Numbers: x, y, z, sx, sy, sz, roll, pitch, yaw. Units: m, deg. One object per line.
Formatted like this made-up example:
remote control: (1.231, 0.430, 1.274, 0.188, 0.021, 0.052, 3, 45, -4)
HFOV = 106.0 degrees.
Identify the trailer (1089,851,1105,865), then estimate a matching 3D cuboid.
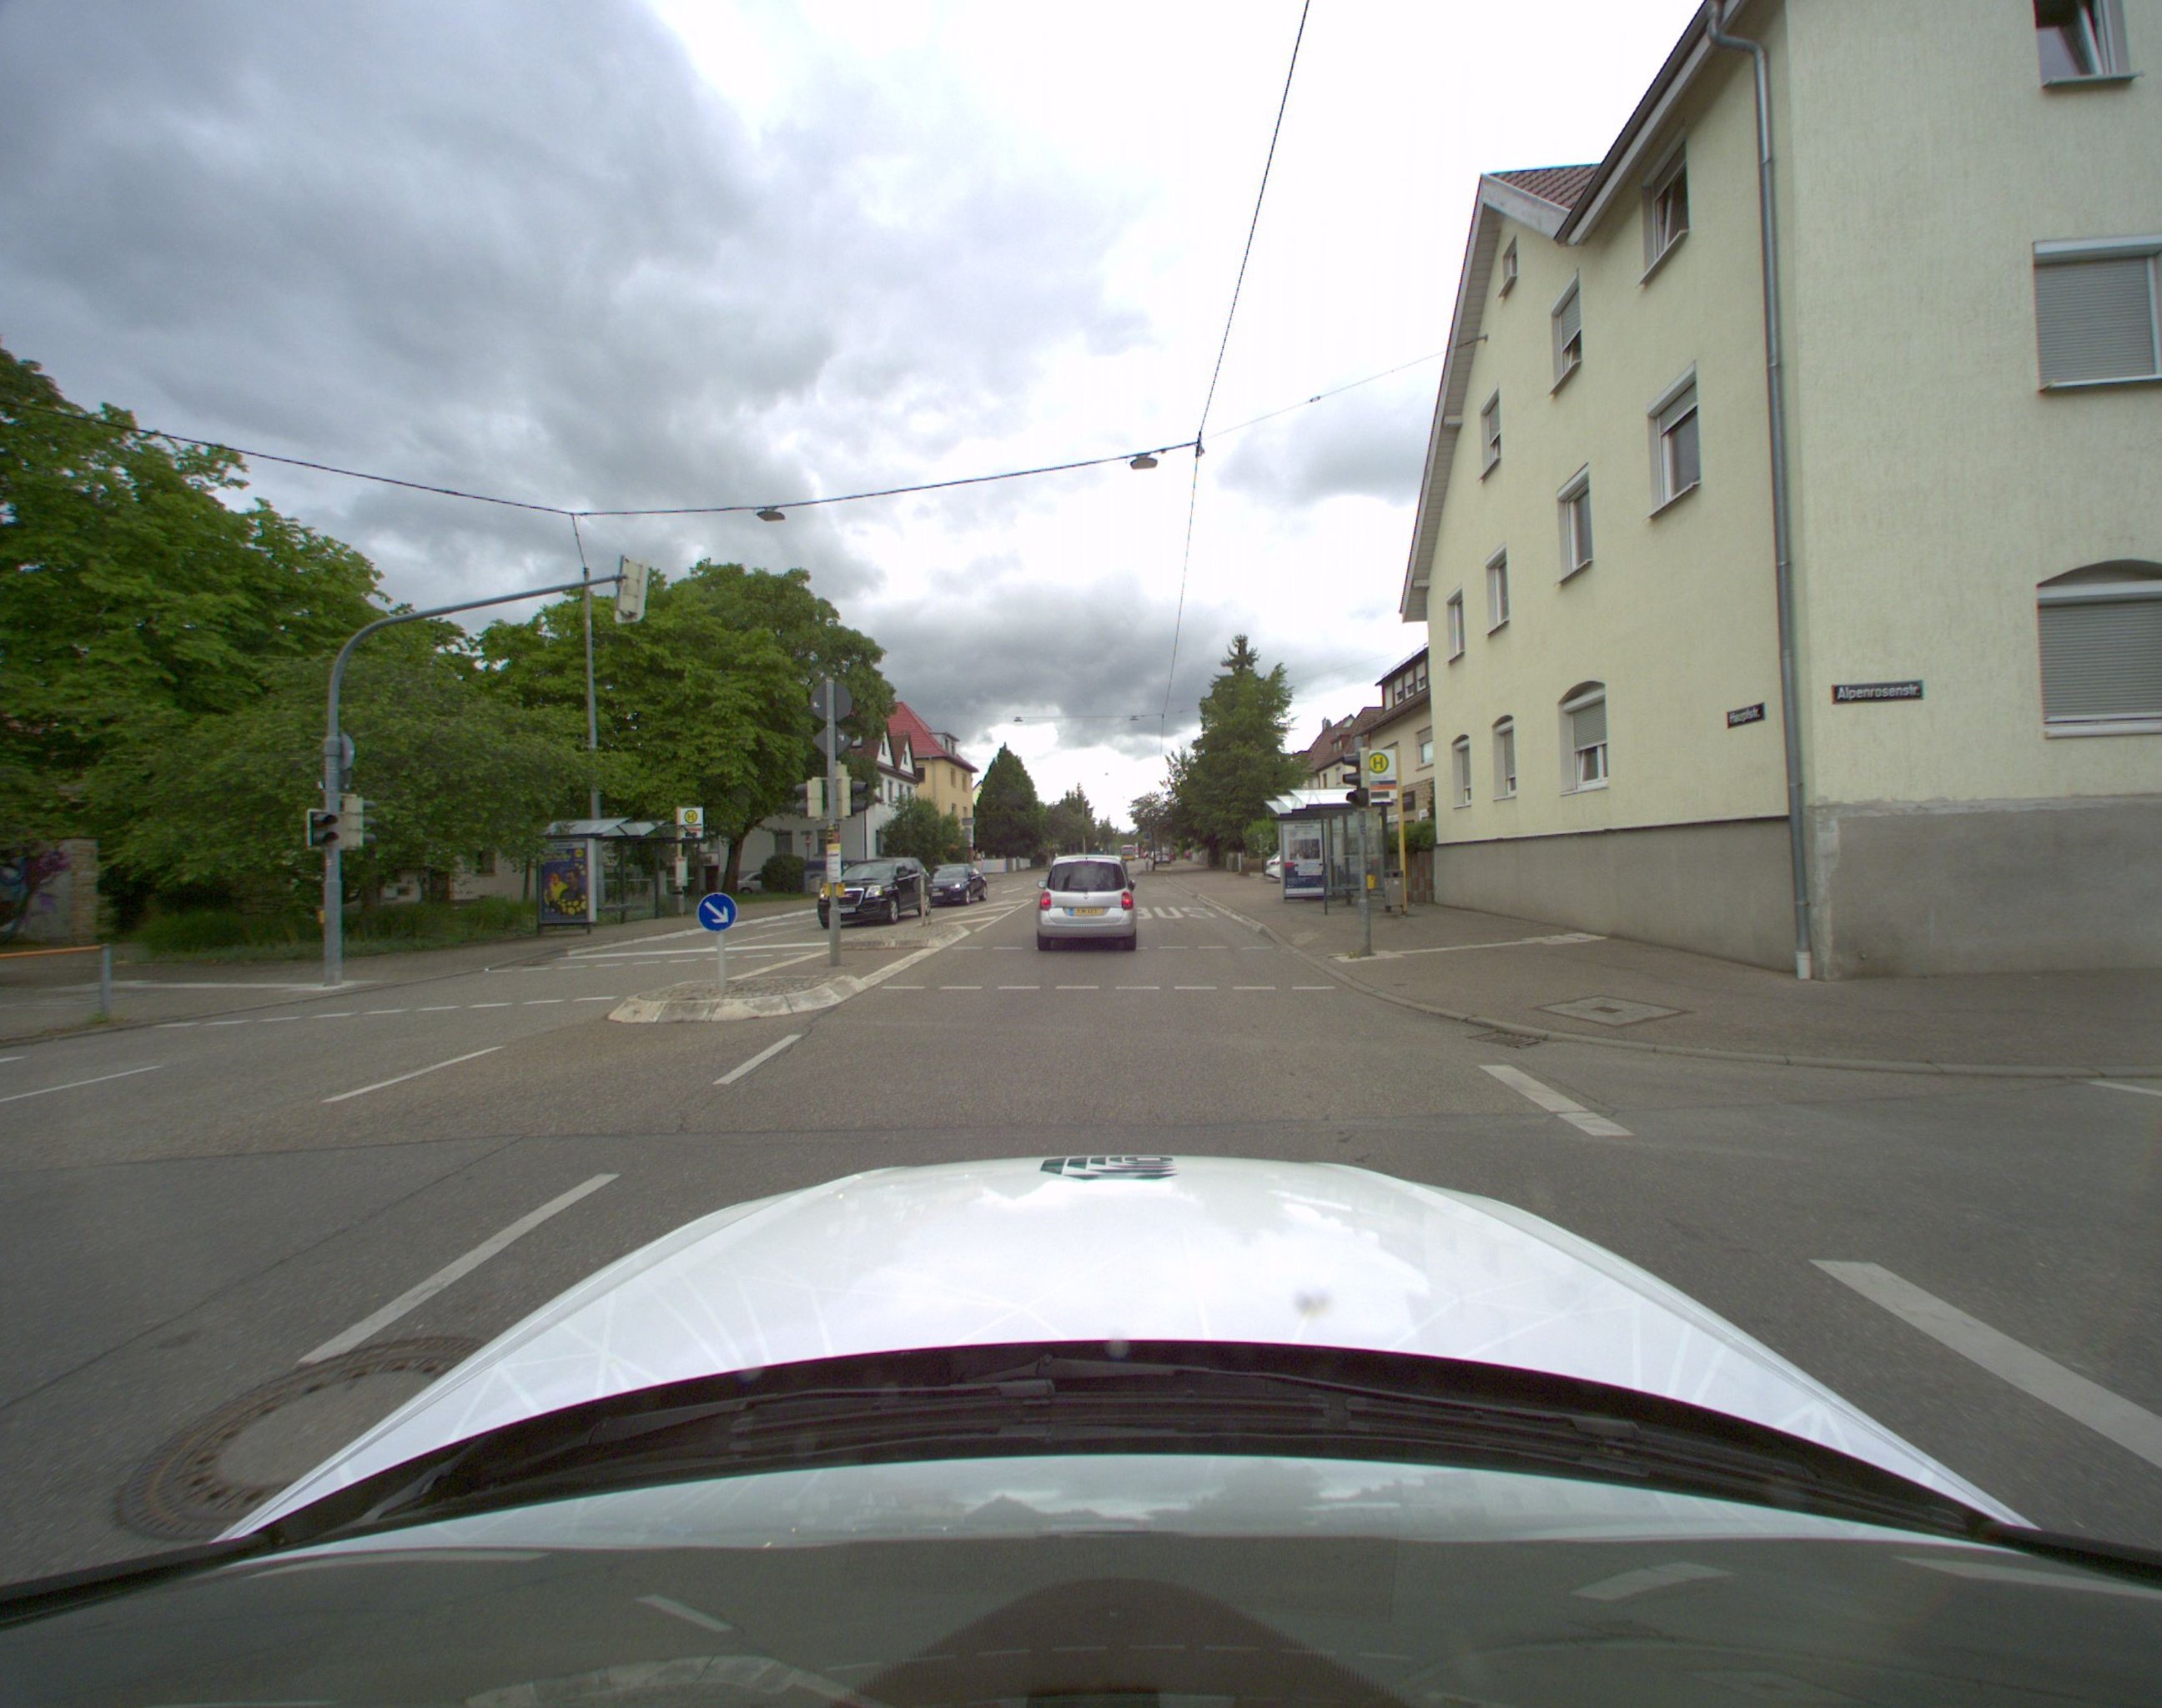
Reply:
trailer: (2.648, 0.645, 133.398, 2.301, 2.087, 5.880, -1, -1, 5)

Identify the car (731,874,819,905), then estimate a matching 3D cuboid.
car: (-16.398, 1.904, 43.719, 3.969, 1.332, 1.724, -4, -2, 3)

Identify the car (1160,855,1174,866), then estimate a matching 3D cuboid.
car: (11.860, 0.883, 111.778, 1.653, 1.393, 3.676, -2, 0, 8)

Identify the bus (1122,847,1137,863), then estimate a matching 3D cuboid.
bus: (10.022, 0.196, 167.592, 2.620, 3.086, 12.084, -3, -1, 5)

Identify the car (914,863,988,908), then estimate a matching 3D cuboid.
car: (-4.493, 1.074, 28.725, 1.556, 1.420, 4.136, -2, -1, 5)

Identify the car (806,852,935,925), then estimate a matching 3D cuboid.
car: (-5.400, 0.868, 21.598, 1.749, 1.635, 4.601, -4, -2, 5)

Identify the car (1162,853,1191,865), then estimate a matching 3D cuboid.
car: (14.602, 0.790, 124.769, 3.977, 1.496, 1.808, -5, -1, -3)

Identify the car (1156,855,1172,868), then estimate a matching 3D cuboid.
car: (9.497, 0.830, 92.733, 1.641, 1.382, 4.007, -1, -1, 7)

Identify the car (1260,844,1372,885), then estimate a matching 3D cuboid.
car: (10.244, 0.466, 35.740, 4.399, 1.488, 1.867, -4, -2, 4)

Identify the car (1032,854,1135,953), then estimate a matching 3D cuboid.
car: (0.035, 0.827, 14.930, 1.625, 1.557, 3.998, 0, -1, 0)

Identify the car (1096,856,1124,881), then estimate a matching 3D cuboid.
car: (2.025, 1.006, 57.648, 1.823, 1.675, 3.573, -2, -1, 0)

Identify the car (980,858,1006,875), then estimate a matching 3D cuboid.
car: (-8.888, 1.254, 82.718, 1.799, 1.564, 4.621, -4, 0, 3)
